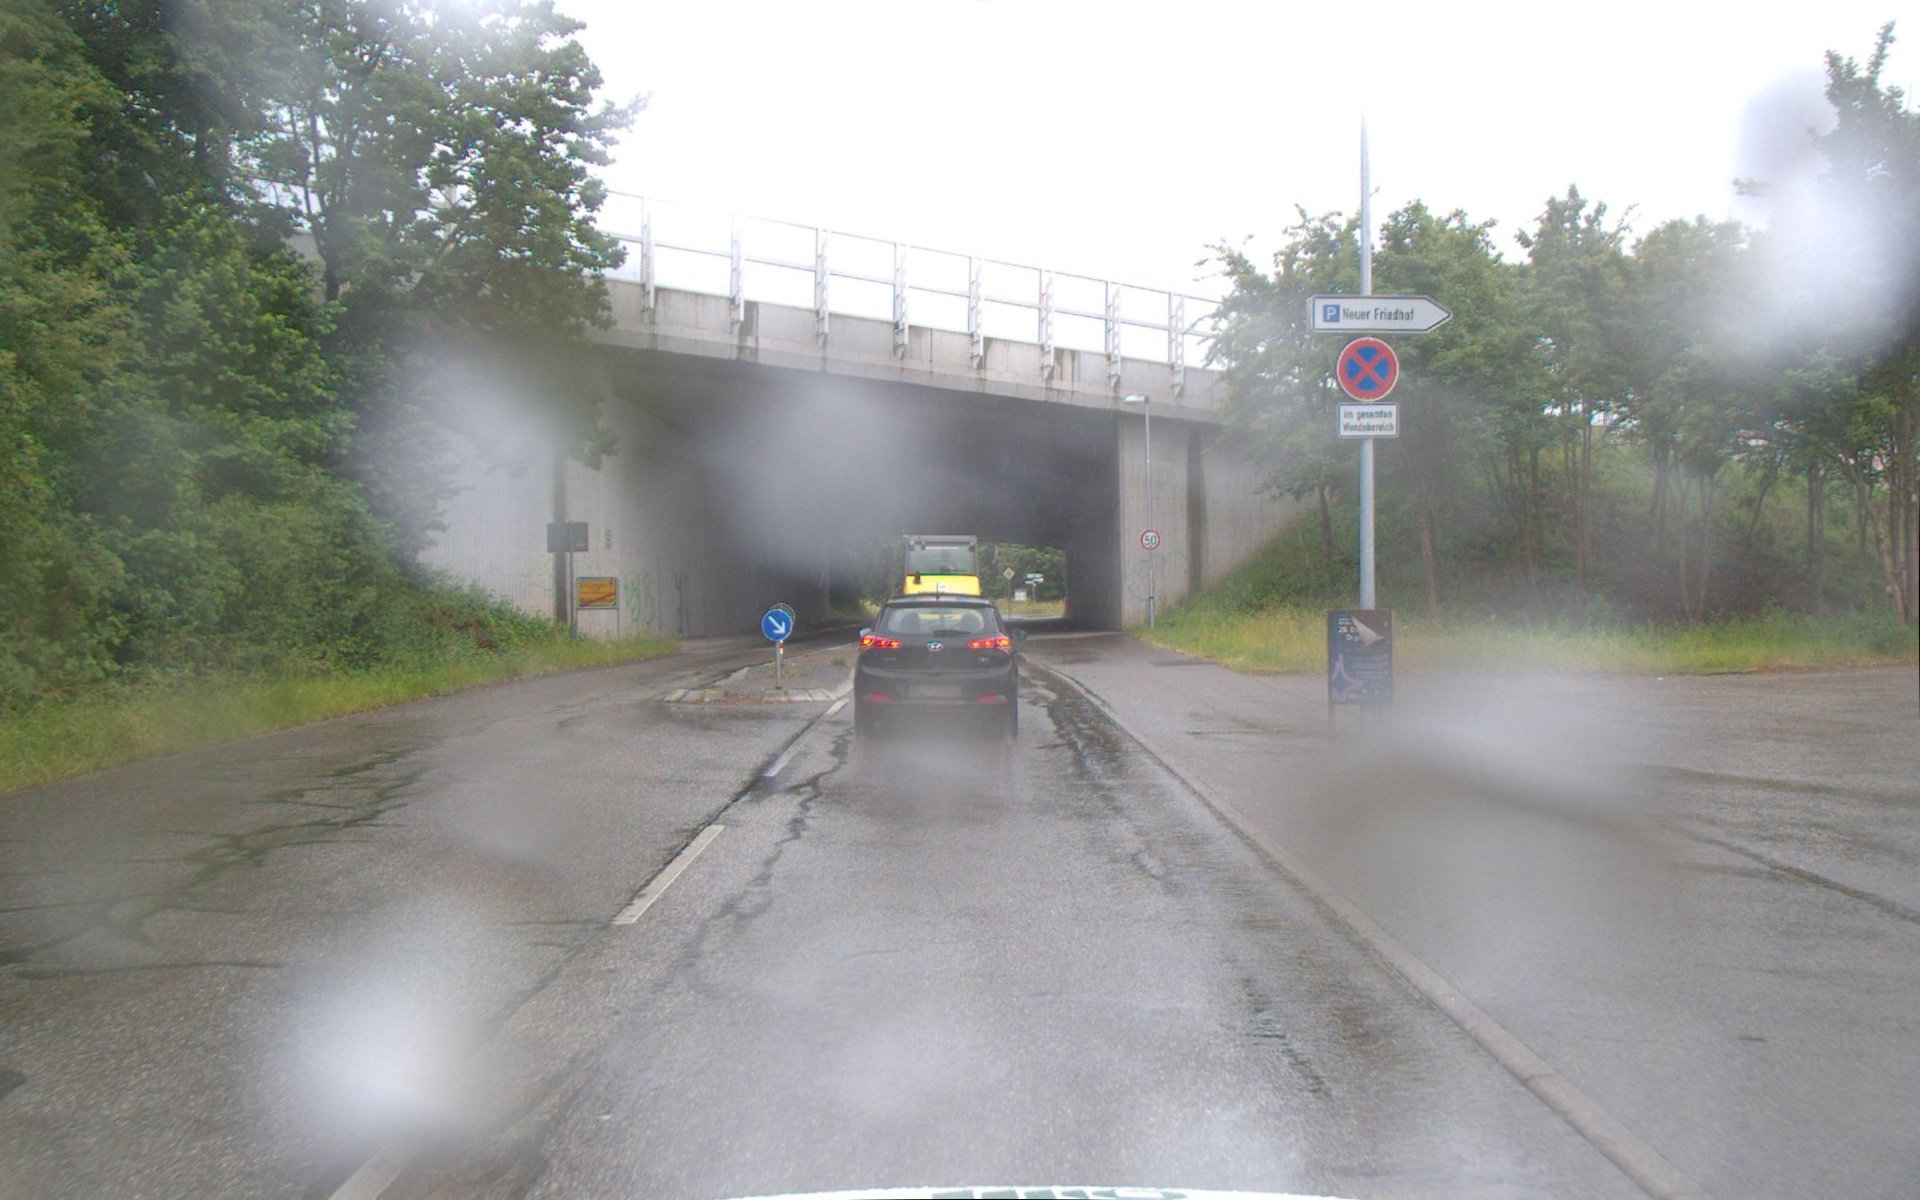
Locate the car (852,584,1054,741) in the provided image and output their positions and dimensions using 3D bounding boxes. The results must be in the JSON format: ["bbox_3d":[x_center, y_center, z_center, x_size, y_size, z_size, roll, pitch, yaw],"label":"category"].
[{"bbox_3d":[-0.116,0.615,18.217,1.953,1.513,3.999,1,0,-2],"label":"car"}]

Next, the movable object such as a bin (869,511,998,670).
[{"bbox_3d":[-0.543,-0.158,31.952,2.200,2.716,6.624,1,0,-1],"label":"movable object such as a bin"}]
